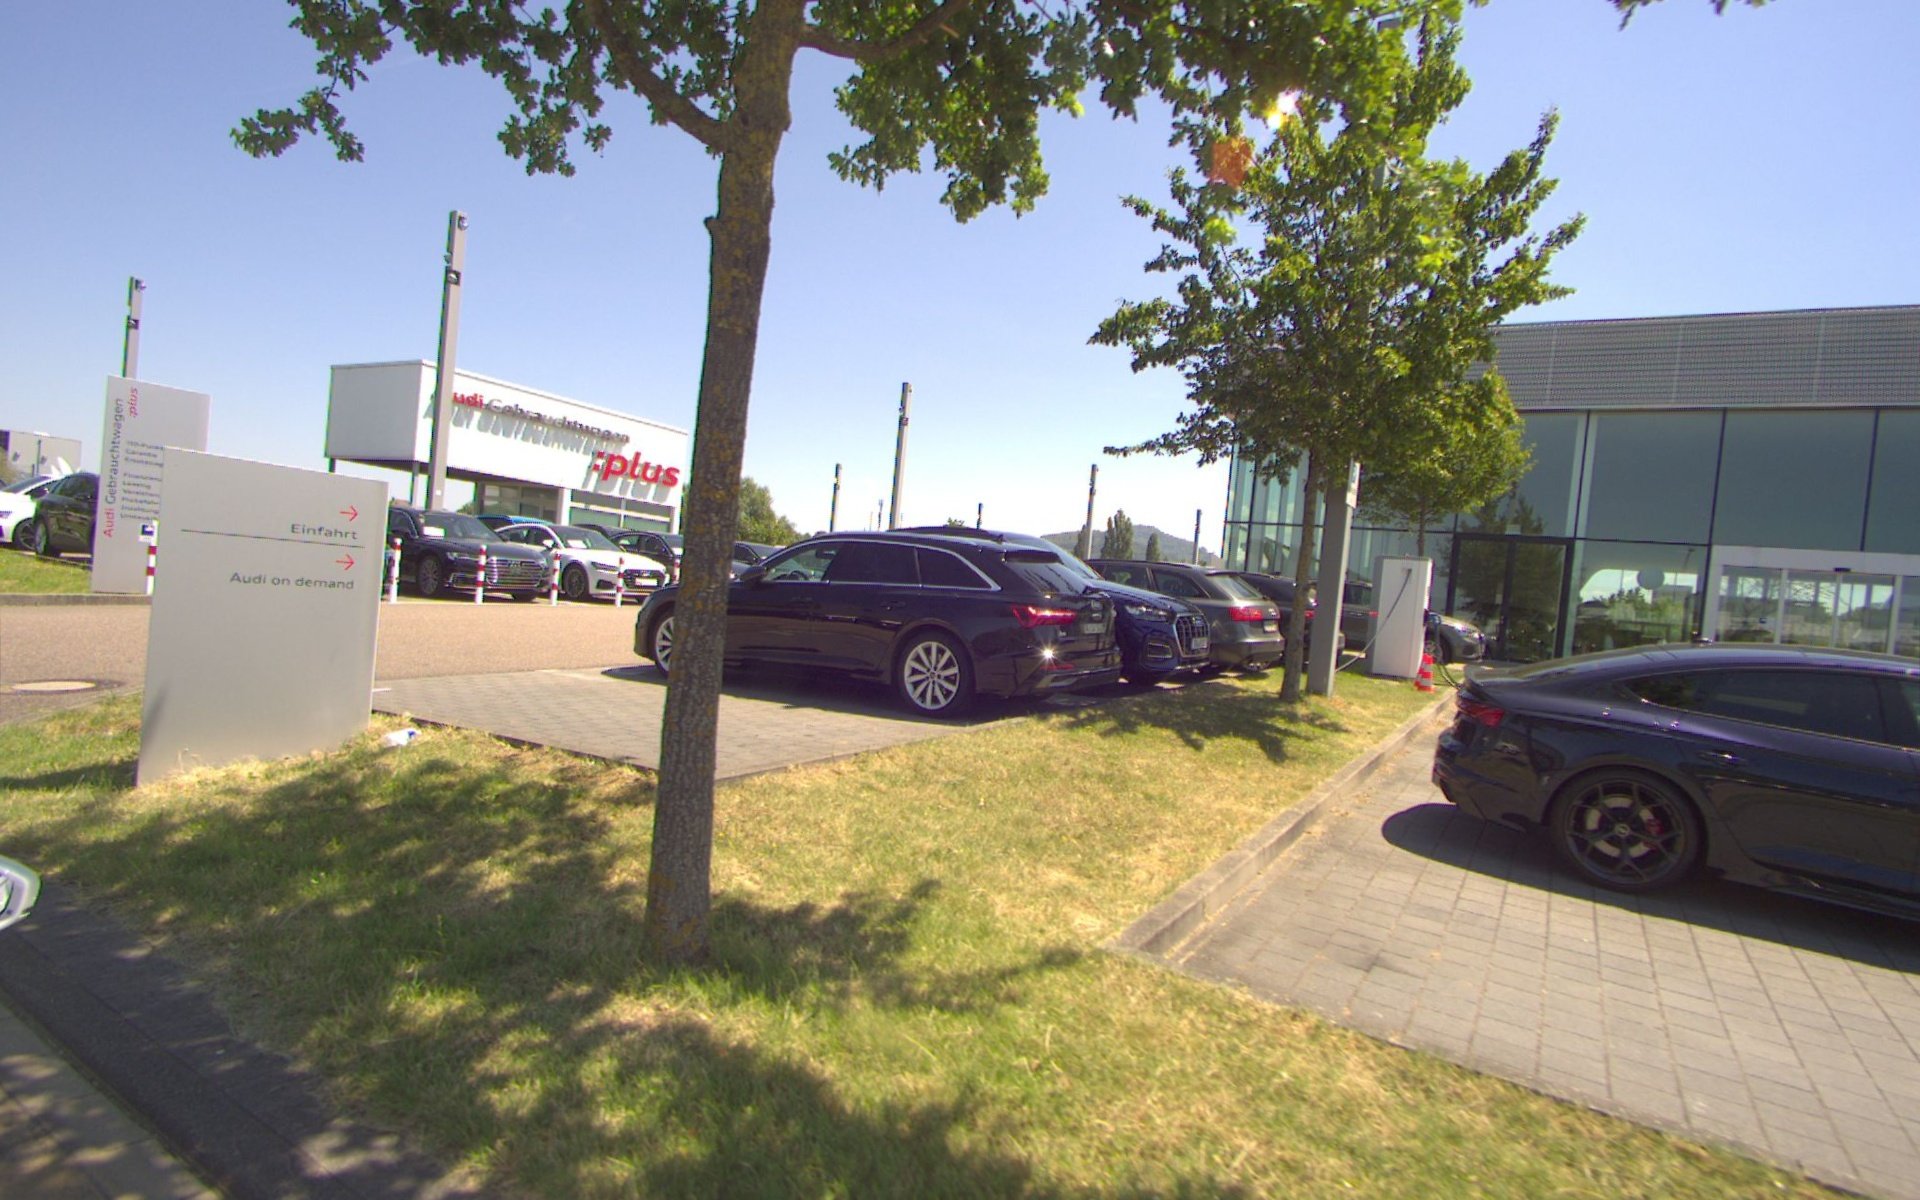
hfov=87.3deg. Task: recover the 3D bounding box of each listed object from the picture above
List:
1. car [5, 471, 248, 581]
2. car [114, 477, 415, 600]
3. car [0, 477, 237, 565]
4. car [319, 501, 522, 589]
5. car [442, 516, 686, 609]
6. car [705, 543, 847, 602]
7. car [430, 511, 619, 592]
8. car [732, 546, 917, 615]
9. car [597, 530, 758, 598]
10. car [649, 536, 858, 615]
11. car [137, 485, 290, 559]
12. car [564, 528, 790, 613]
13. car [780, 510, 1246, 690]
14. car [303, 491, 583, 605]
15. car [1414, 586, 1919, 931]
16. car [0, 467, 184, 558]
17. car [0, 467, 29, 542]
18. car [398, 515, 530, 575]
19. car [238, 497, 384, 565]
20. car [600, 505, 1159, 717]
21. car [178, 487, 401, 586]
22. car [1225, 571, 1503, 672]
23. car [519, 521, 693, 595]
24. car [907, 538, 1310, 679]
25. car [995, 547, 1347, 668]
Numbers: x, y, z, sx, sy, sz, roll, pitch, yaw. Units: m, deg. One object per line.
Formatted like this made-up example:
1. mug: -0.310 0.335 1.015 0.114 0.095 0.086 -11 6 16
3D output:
1. car: -15.331 -1.382 18.453 4.700 1.594 2.025 6 2 32
2. car: -11.031 -0.991 15.833 5.153 1.535 2.024 6 3 32
3. car: -18.580 -1.685 21.594 1.997 1.476 4.532 6 1 29
4. car: -12.553 -1.295 23.309 4.700 1.611 2.025 6 2 32
5. car: -8.123 -0.780 20.461 4.994 1.477 2.024 6 3 32
6. car: -6.475 -0.960 35.258 4.700 1.611 2.025 6 2 32
7. car: -11.115 -1.247 25.579 4.700 1.611 2.025 6 2 32
8. car: -3.785 -0.554 27.764 4.822 1.477 2.024 6 3 32
9. car: -8.624 -1.115 30.601 4.701 1.611 2.025 6 2 33
10. car: -5.165 -0.622 24.961 4.994 1.476 2.025 6 2 32
11. car: -21.741 -2.290 29.248 4.731 1.748 2.024 6 2 33
12. car: -6.420 -0.677 22.602 4.994 1.477 2.024 6 3 32
13. car: 0.497 -0.083 11.486 4.904 1.619 1.962 4 1 32
14. car: -9.256 -0.958 17.825 5.385 1.595 1.895 6 3 32
15. car: 5.144 0.867 5.372 4.642 1.386 1.960 7 4 31
16. car: -20.828 -2.024 22.900 1.997 1.715 4.532 6 1 29
17. car: -25.065 -2.513 24.717 5.025 1.715 2.024 6 2 33
18. car: -17.675 -1.965 35.757 4.731 1.676 2.024 6 2 33
19. car: -20.374 -2.179 31.527 4.731 1.702 2.024 6 2 33
20. car: -0.874 -0.010 9.327 4.904 1.475 1.962 4 1 32
21. car: -13.848 -1.328 20.699 4.700 1.611 2.025 6 2 32
22. car: 8.136 0.390 20.434 4.904 1.642 1.962 4 1 32
23. car: -9.960 -1.185 28.204 4.700 1.611 2.025 6 2 32
24. car: 1.892 0.044 13.472 4.904 1.475 1.962 4 1 32
25. car: 3.188 0.065 15.593 4.904 1.475 1.962 4 1 32
